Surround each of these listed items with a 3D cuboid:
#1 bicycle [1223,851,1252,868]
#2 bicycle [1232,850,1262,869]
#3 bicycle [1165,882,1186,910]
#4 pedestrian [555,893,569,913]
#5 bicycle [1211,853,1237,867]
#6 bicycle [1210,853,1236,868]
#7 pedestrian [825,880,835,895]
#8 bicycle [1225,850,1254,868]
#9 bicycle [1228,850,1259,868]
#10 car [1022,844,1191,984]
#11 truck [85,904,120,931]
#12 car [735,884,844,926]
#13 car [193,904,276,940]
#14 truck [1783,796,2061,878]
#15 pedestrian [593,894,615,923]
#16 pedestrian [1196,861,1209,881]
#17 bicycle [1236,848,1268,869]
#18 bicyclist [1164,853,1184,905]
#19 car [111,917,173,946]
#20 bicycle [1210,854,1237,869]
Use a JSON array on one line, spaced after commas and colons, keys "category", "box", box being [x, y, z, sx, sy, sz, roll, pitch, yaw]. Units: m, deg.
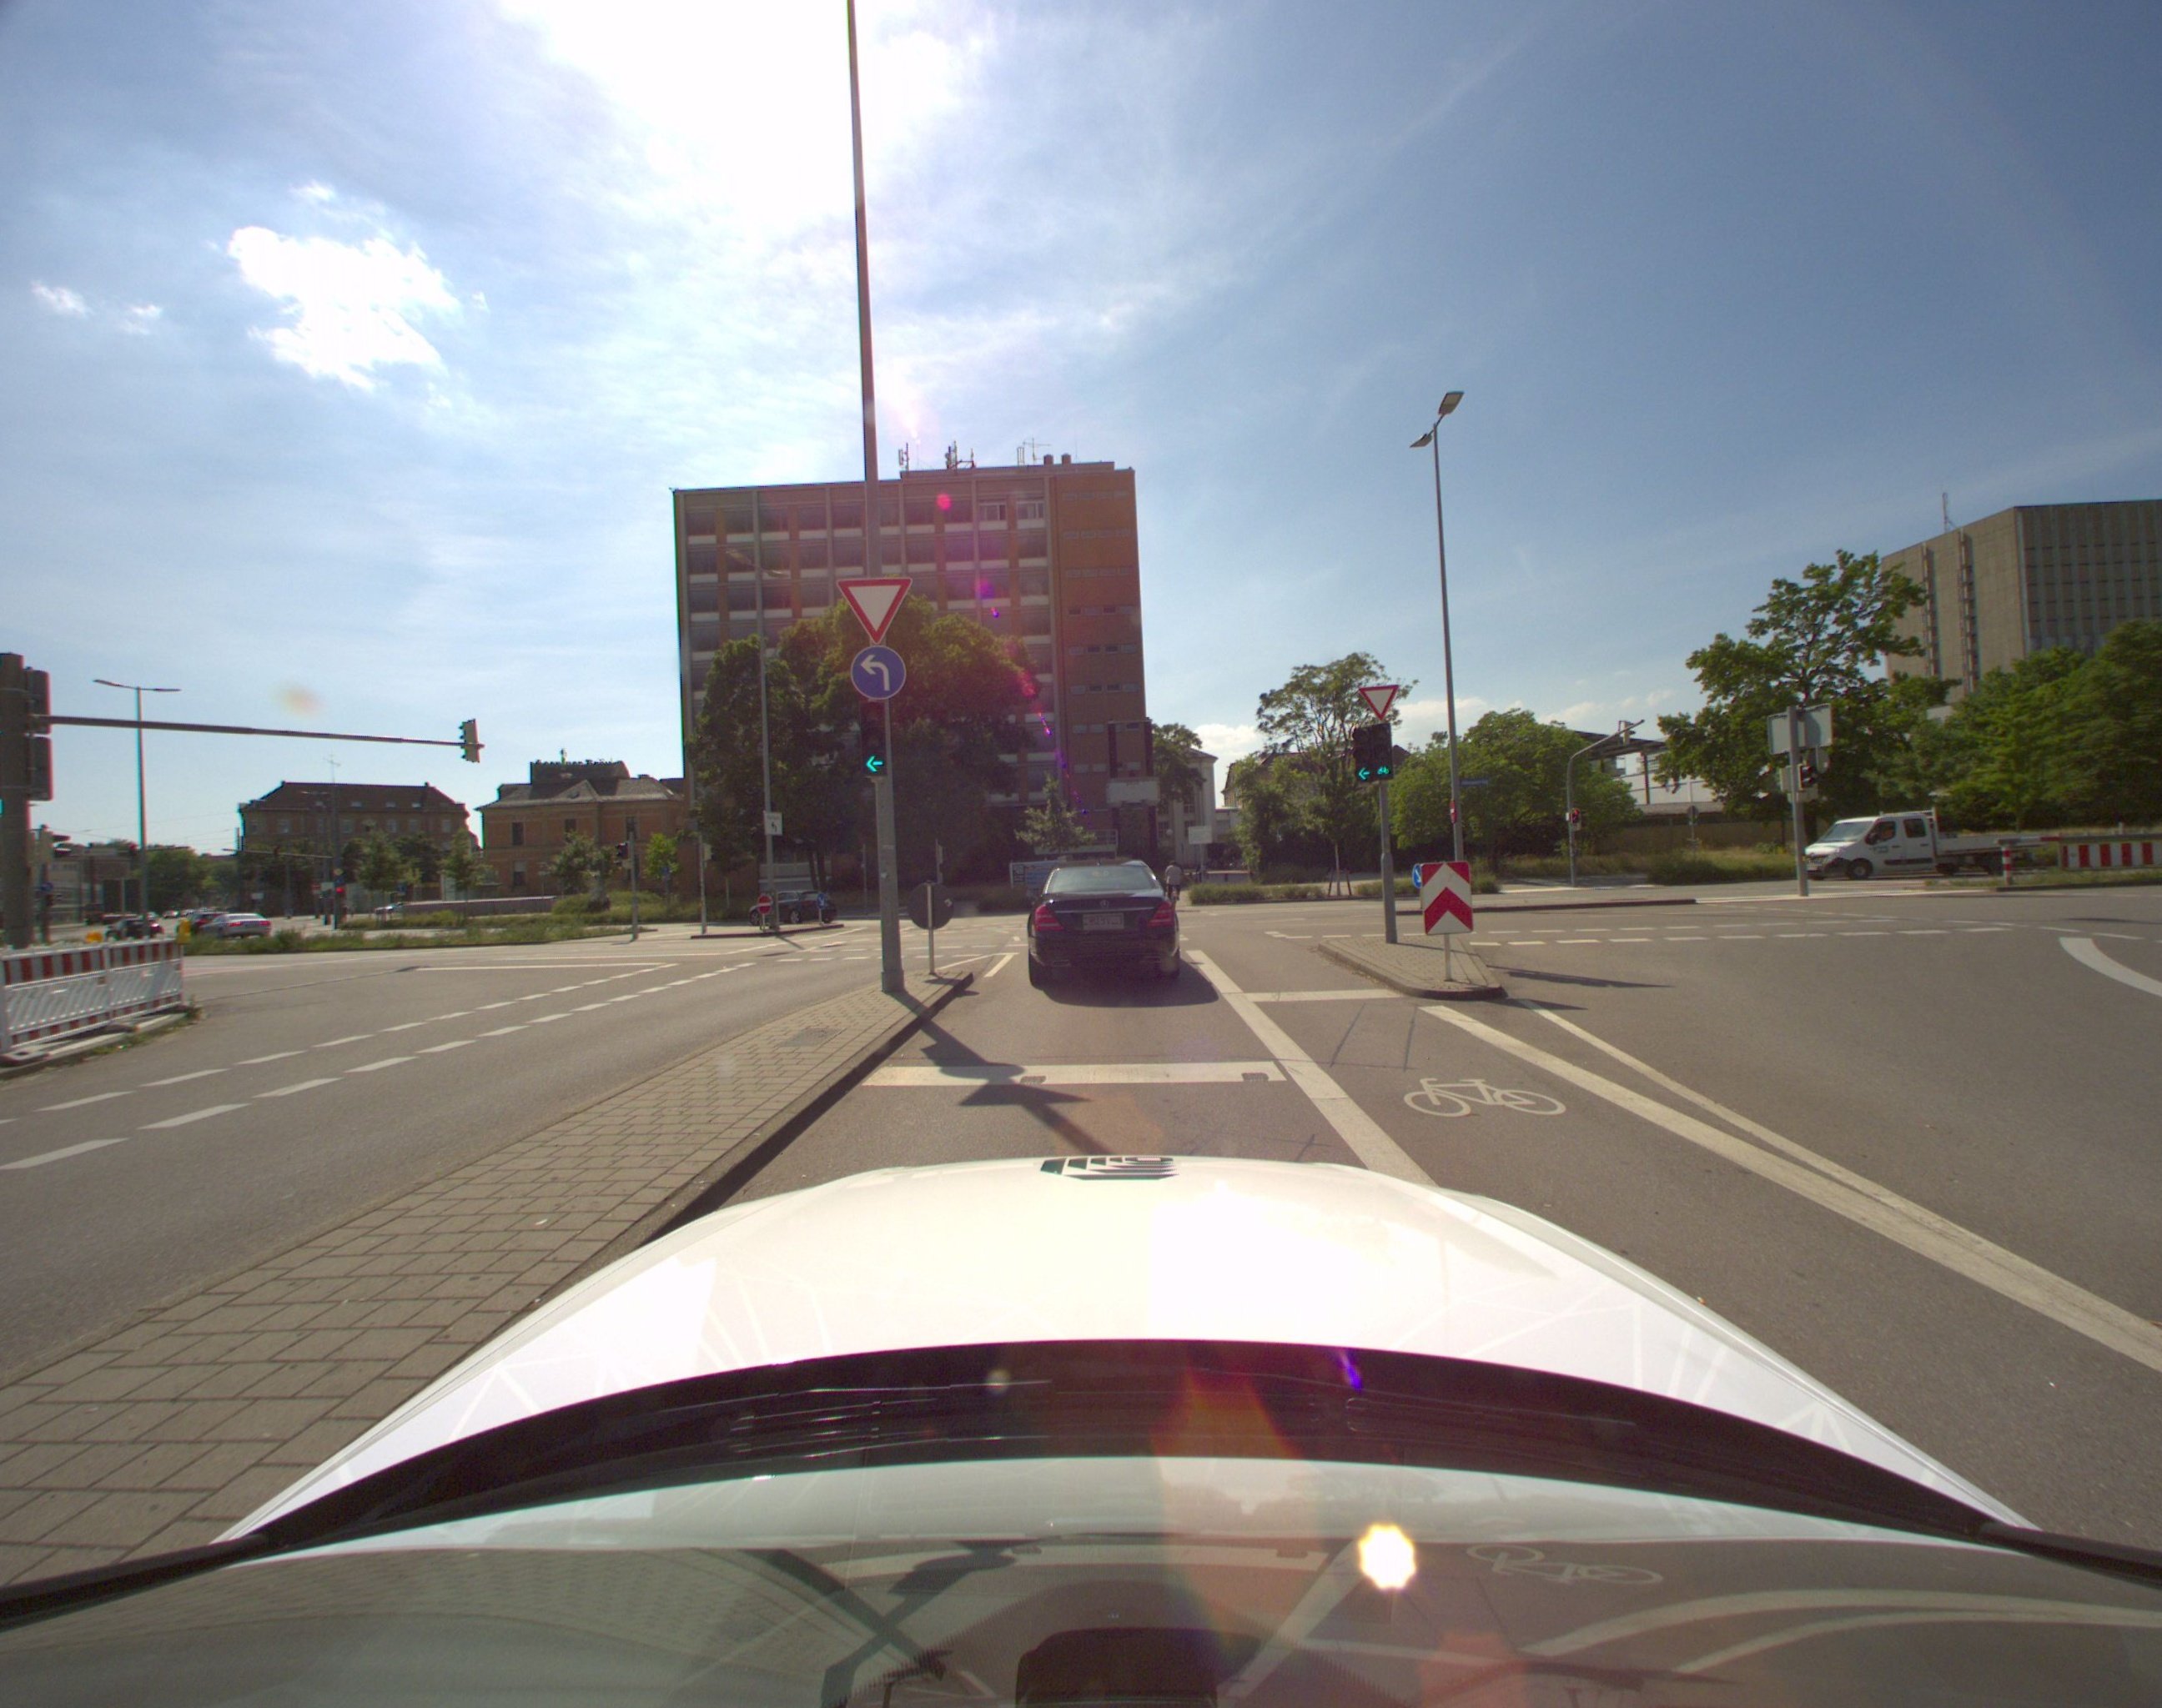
[{"category": "bicycle", "box": [16.275, 0.615, 84.952, 2.813, 1.587, 0.842, -3, -1, 1]}, {"category": "bicycle", "box": [16.583, 0.510, 81.418, 2.813, 1.744, 0.842, -3, -1, 1]}, {"category": "bicycle", "box": [3.427, 1.512, 29.718, 0.689, 0.946, 1.961, -1, -1, 5]}, {"category": "pedestrian", "box": [-44.263, 4.171, 69.451, 0.644, 1.661, 0.652, -3, -2, 9]}, {"category": "bicycle", "box": [16.441, 0.726, 93.900, 2.813, 1.480, 0.842, -3, -1, 1]}, {"category": "bicycle", "box": [16.084, 0.753, 92.191, 2.813, 1.500, 0.842, -3, -1, 1]}, {"category": "pedestrian", "box": [-16.043, 2.137, 51.983, 0.425, 0.892, 0.394, -3, -1, 11]}, {"category": "bicycle", "box": [16.338, 0.528, 83.884, 2.813, 1.659, 0.842, -3, 1, 1]}, {"category": "bicycle", "box": [16.509, 0.515, 82.771, 2.813, 1.649, 0.842, -3, -1, 1]}, {"category": "car", "box": [0.286, 0.708, 11.418, 1.853, 1.530, 4.712, -1, -1, 0]}, {"category": "truck", "box": [-146.455, 9.431, 121.983, 7.827, 3.730, 3.093, -4, -2, 41]}, {"category": "car", "box": [-11.887, 2.074, 33.235, 3.951, 1.510, 1.810, -4, -3, 23]}, {"category": "car", "box": [-48.309, 3.862, 46.499, 3.951, 1.816, 2.011, -3, -1, 24]}, {"category": "truck", "box": [29.454, -0.527, 28.745, 6.997, 2.356, 2.414, -3, -2, 2]}, {"category": "pedestrian", "box": [-30.216, 3.450, 51.602, 0.790, 1.725, 0.878, -4, -2, 24]}, {"category": "pedestrian", "box": [7.735, 1.074, 51.659, 0.788, 1.214, 0.759, -1, -1, 8]}, {"category": "bicycle", "box": [16.642, 0.464, 79.156, 2.813, 1.836, 0.842, -3, -1, 1]}, {"category": "bicyclist", "box": [3.431, 0.924, 30.016, 0.682, 1.878, 0.861, -1, -1, 5]}, {"category": "car", "box": [-55.875, 4.588, 48.437, 3.948, 1.510, 1.811, -4, -2, 32]}, {"category": "bicycle", "box": [15.753, 0.834, 89.927, 2.813, 1.559, 0.842, -3, -1, 1]}]
